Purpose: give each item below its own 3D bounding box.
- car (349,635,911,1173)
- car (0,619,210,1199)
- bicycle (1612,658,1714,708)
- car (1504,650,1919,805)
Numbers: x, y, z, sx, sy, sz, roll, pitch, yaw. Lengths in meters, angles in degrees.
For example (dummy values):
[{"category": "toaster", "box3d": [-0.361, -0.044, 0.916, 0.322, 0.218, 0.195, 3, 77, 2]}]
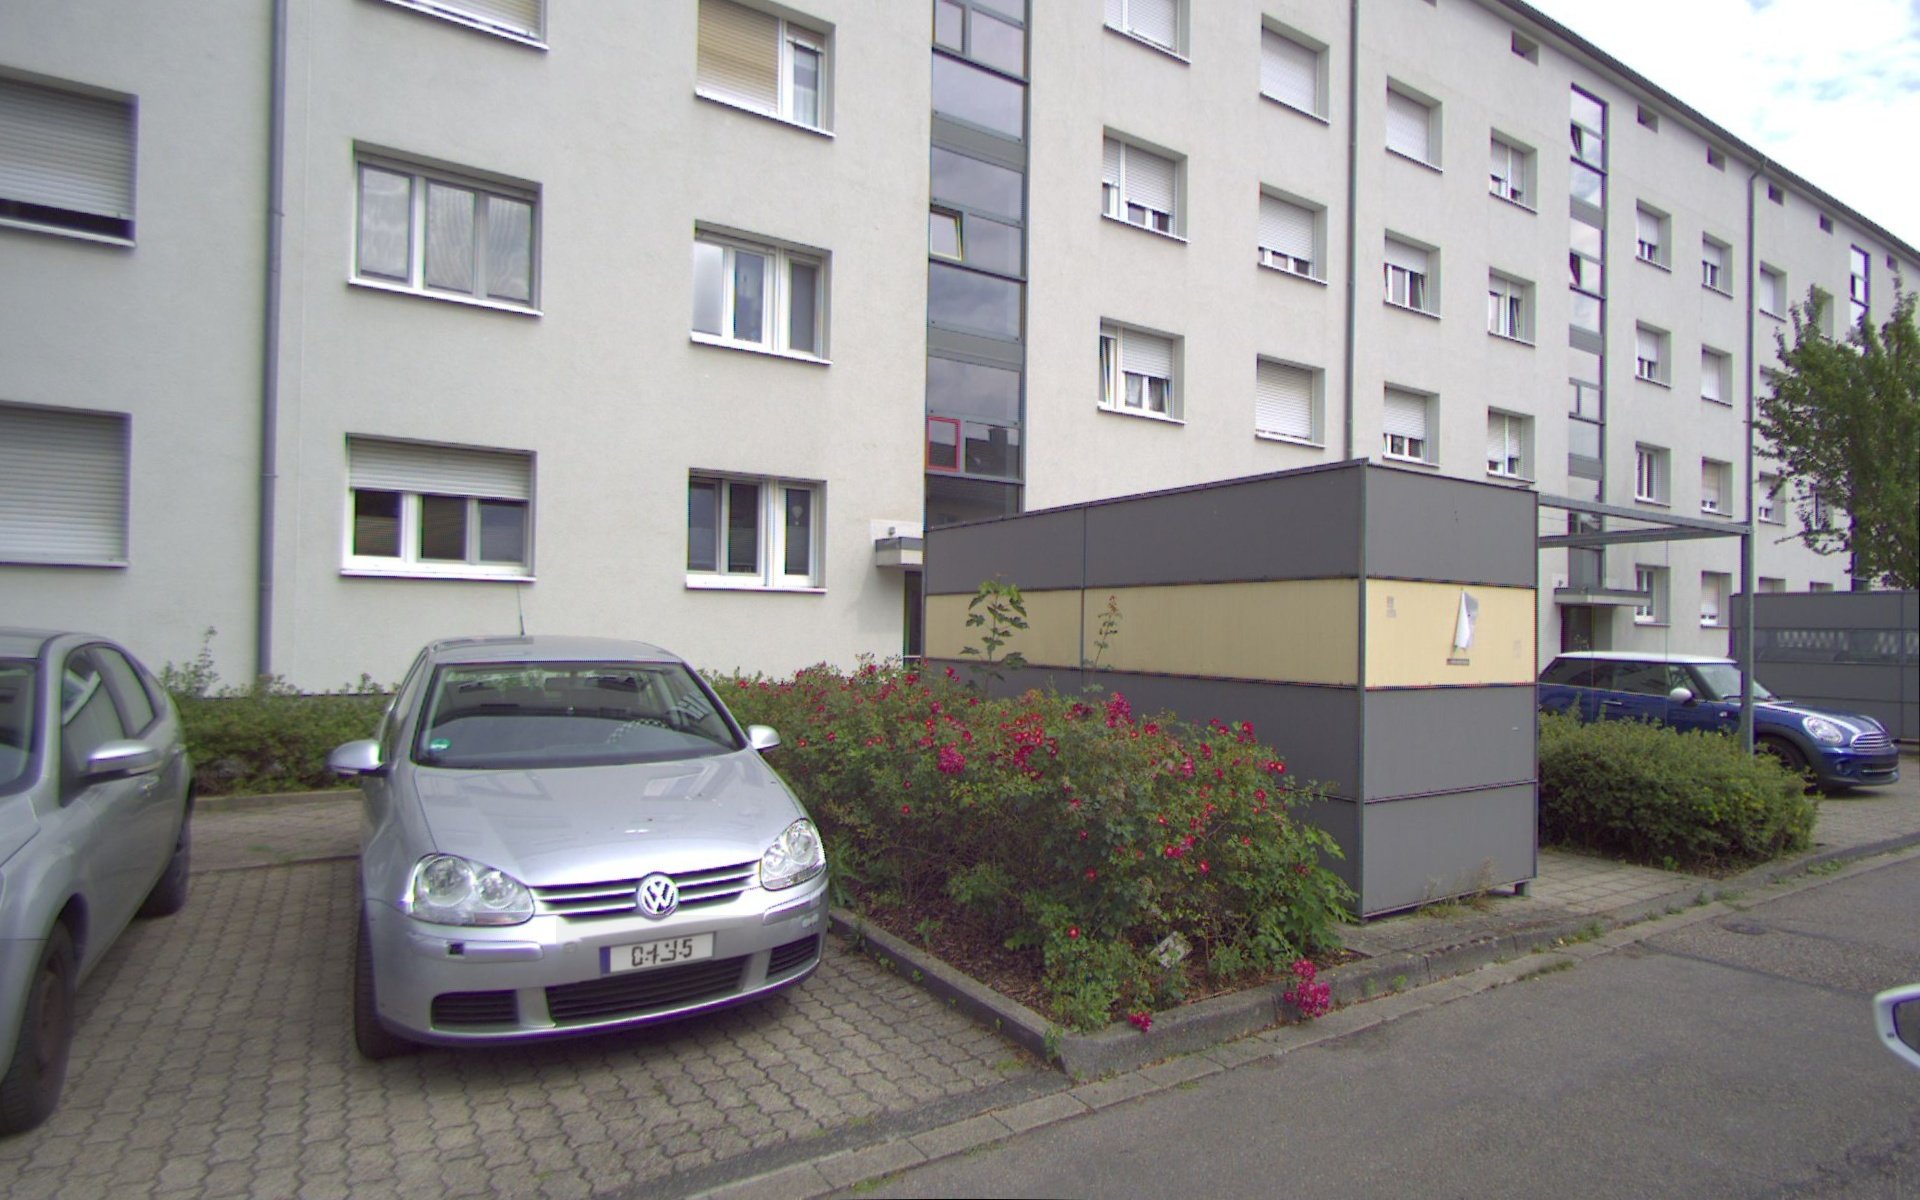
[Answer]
[{"category": "car", "box3d": [-1.973, 0.930, 4.987, 1.762, 1.483, 4.031, 2, -3, -31]}, {"category": "car", "box3d": [-4.088, 0.845, 3.640, 1.762, 1.525, 4.031, 2, -3, -31]}, {"category": "bicycle", "box3d": [15.530, 1.820, 22.226, 1.775, 1.038, 0.479, 0, -1, 18]}, {"category": "car", "box3d": [8.592, 1.341, 11.766, 1.632, 1.480, 3.621, 2, -3, -28]}]
